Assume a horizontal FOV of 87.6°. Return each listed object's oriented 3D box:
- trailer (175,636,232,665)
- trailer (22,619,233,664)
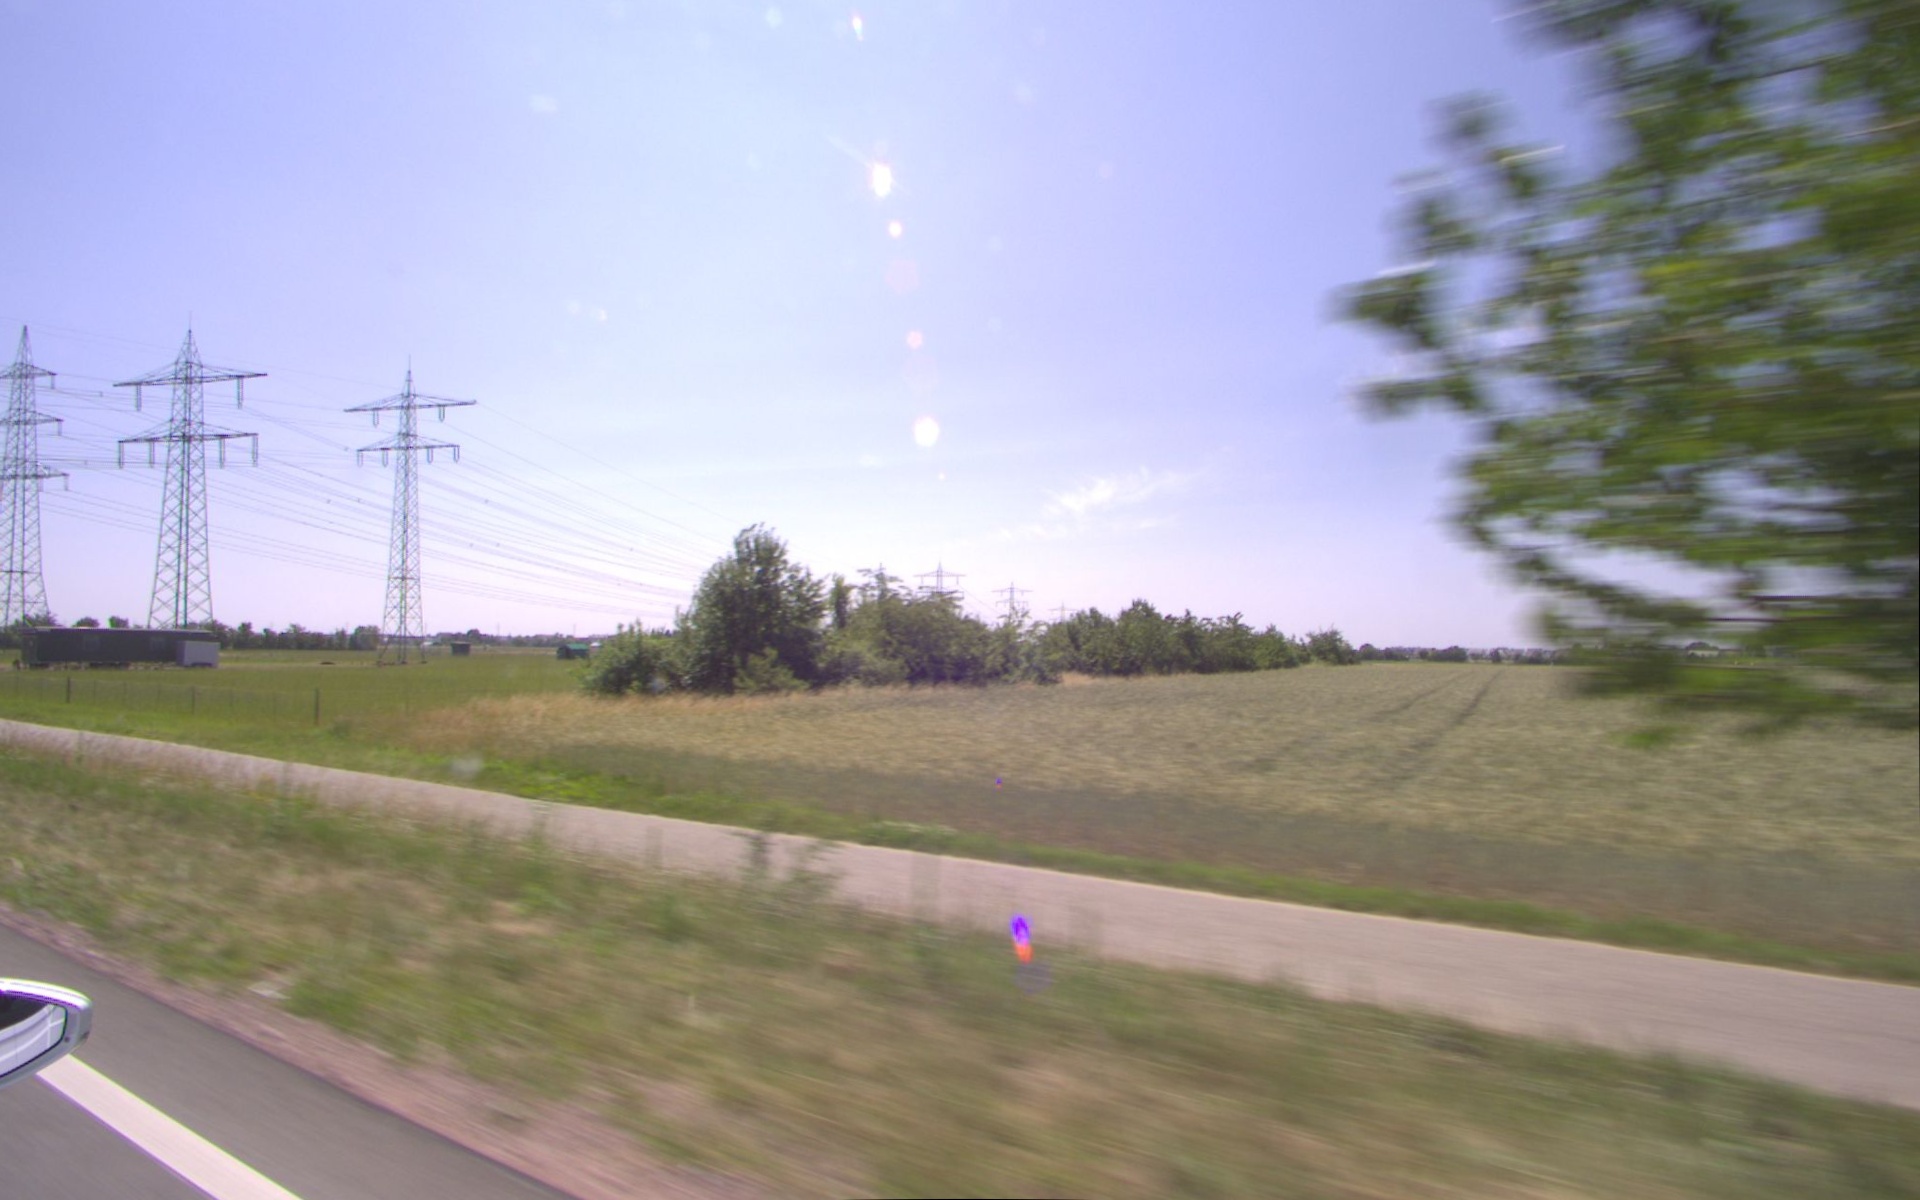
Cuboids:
[{"bbox_3d":[-66.061,4.430,87.450,2.007,2.493,3.405,0,-3,30],"label":"trailer"},{"bbox_3d":[-70.437,3.629,85.349,3.227,3.518,13.502,0,-3,30],"label":"trailer"}]
